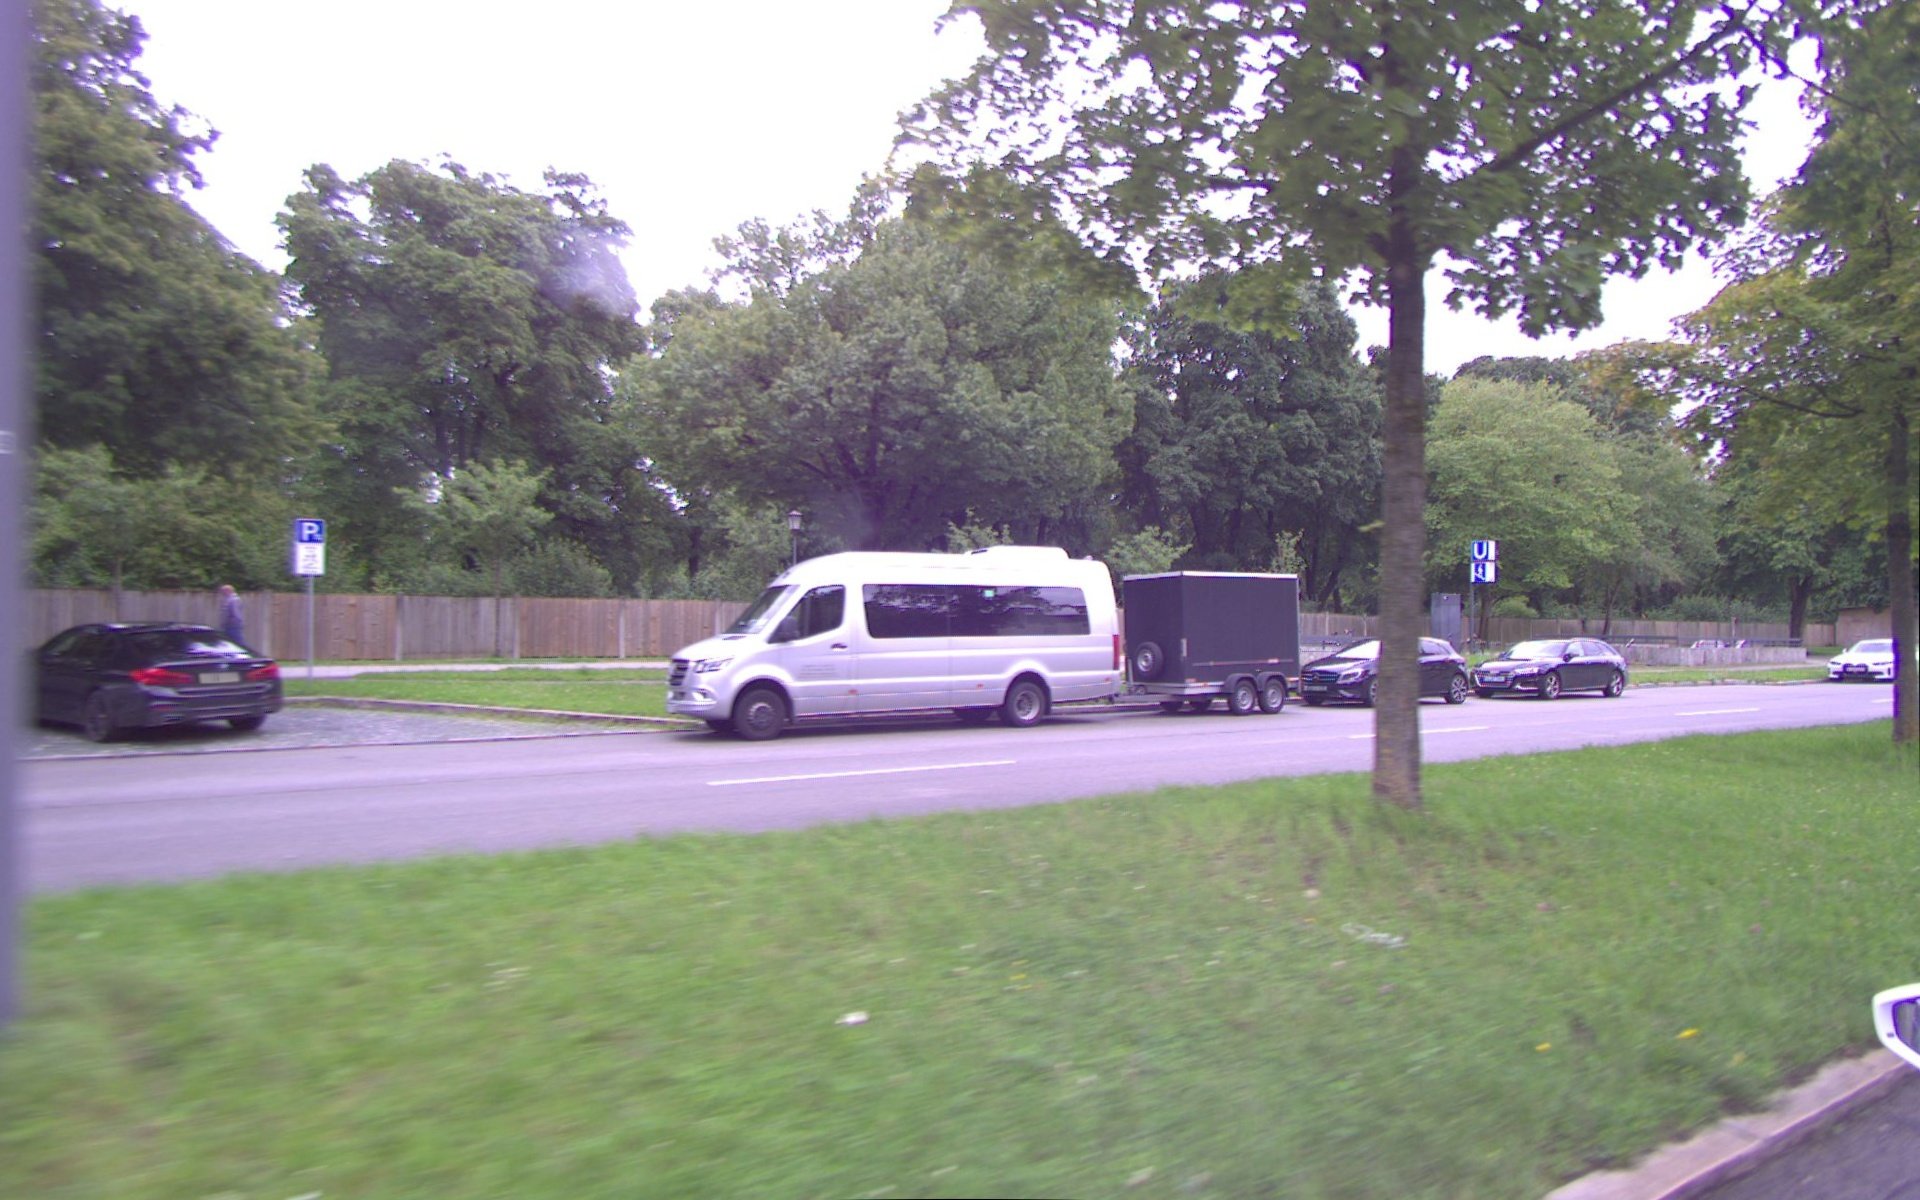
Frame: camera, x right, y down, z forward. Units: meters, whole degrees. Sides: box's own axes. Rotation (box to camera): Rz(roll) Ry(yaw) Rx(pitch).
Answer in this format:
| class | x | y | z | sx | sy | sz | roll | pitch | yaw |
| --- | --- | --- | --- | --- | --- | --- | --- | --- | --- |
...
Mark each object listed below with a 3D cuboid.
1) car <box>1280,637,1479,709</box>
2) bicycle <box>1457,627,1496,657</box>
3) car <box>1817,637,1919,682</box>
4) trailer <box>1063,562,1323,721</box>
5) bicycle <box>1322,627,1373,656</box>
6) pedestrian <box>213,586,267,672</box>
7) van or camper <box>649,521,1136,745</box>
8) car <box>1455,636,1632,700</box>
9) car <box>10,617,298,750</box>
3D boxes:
| class | x | y | z | sx | sy | sz | roll | pitch | yaw |
| --- | --- | --- | --- | --- | --- | --- | --- | --- | --- |
| car | 9.059 | 1.512 | 21.646 | 4.188 | 1.402 | 1.792 | 1 | -3 | -30 |
| bicycle | 20.259 | 1.643 | 39.399 | 1.803 | 1.115 | 0.429 | 1 | 0 | -30 |
| car | 32.420 | 2.075 | 35.471 | 4.818 | 1.492 | 1.848 | 1 | -3 | -31 |
| trailer | 4.361 | 0.765 | 18.660 | 4.603 | 2.624 | 2.008 | 1 | -2 | -30 |
| bicycle | 13.815 | 1.477 | 35.836 | 0.427 | 0.942 | 1.811 | 1 | 0 | -30 |
| pedestrian | -15.362 | 0.626 | 21.465 | 0.865 | 1.790 | 0.763 | 1 | -2 | -34 |
| van or camper | -0.808 | 0.524 | 15.651 | 7.457 | 2.875 | 2.026 | 1 | -2 | -30 |
| car | 14.249 | 1.596 | 24.492 | 4.378 | 1.444 | 1.792 | 1 | -3 | -30 |
| car | -11.043 | 1.026 | 13.716 | 3.929 | 1.453 | 1.798 | 1 | 0 | 31 |
